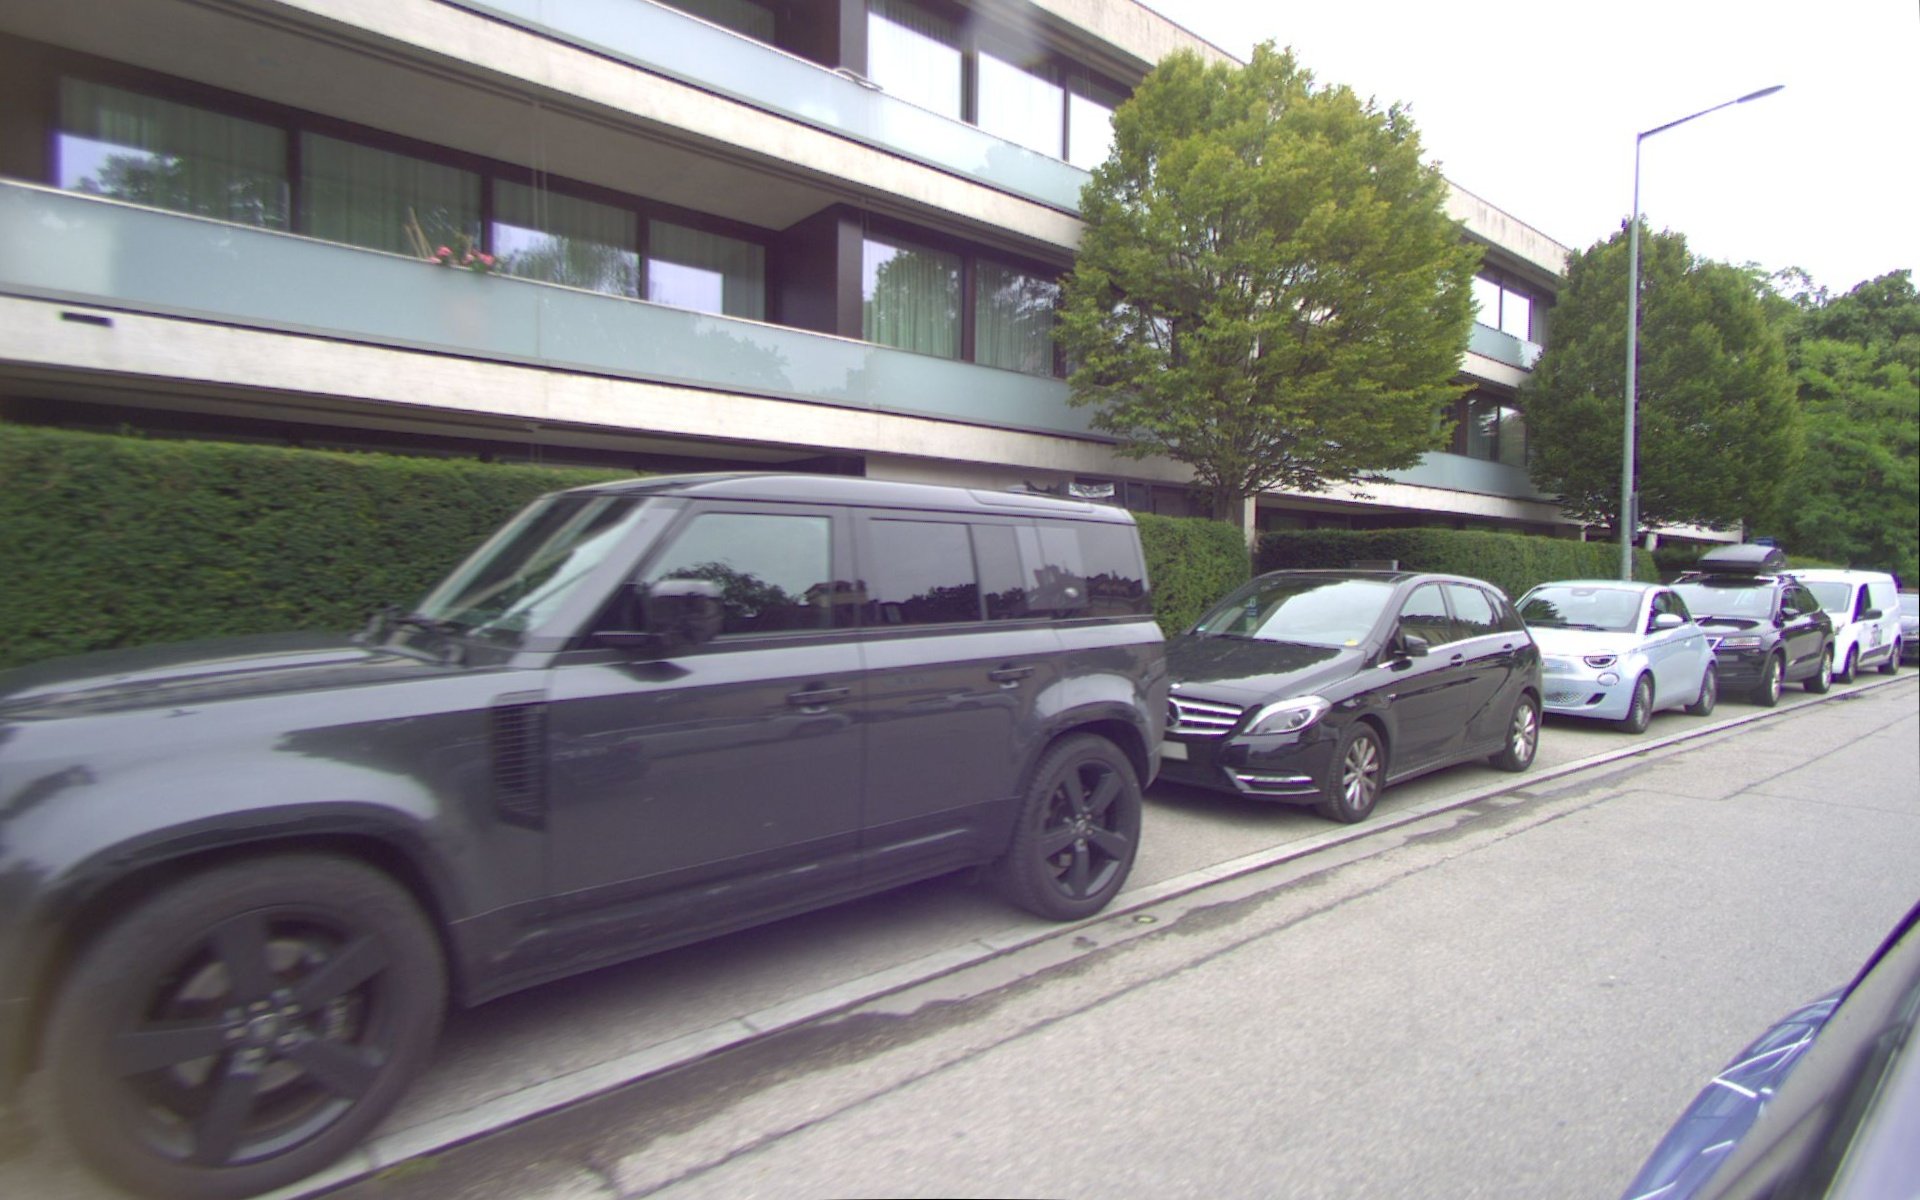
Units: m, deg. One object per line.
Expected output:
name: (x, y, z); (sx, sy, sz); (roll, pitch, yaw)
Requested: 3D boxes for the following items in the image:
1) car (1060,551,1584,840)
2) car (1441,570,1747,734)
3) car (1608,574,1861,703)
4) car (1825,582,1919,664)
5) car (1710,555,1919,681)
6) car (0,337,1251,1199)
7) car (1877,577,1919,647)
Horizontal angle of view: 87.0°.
car: (2.933, 0.481, 7.616); (4.490, 1.558, 1.751); (0, 2, -41)
car: (7.170, 0.467, 11.319); (3.818, 1.499, 1.752); (0, 2, -39)
car: (10.813, 0.448, 14.016); (4.514, 1.499, 1.752); (0, 1, -39)
car: (19.340, 0.434, 20.690); (4.166, 1.482, 1.752); (0, 2, -39)
car: (14.709, 0.258, 17.249); (4.807, 1.884, 1.827); (0, 0, -37)
car: (-1.065, 0.353, 4.172); (4.990, 1.894, 1.991); (-1, 2, -41)
car: (23.393, 0.312, 24.022); (4.128, 1.547, 1.732); (0, 3, -39)
